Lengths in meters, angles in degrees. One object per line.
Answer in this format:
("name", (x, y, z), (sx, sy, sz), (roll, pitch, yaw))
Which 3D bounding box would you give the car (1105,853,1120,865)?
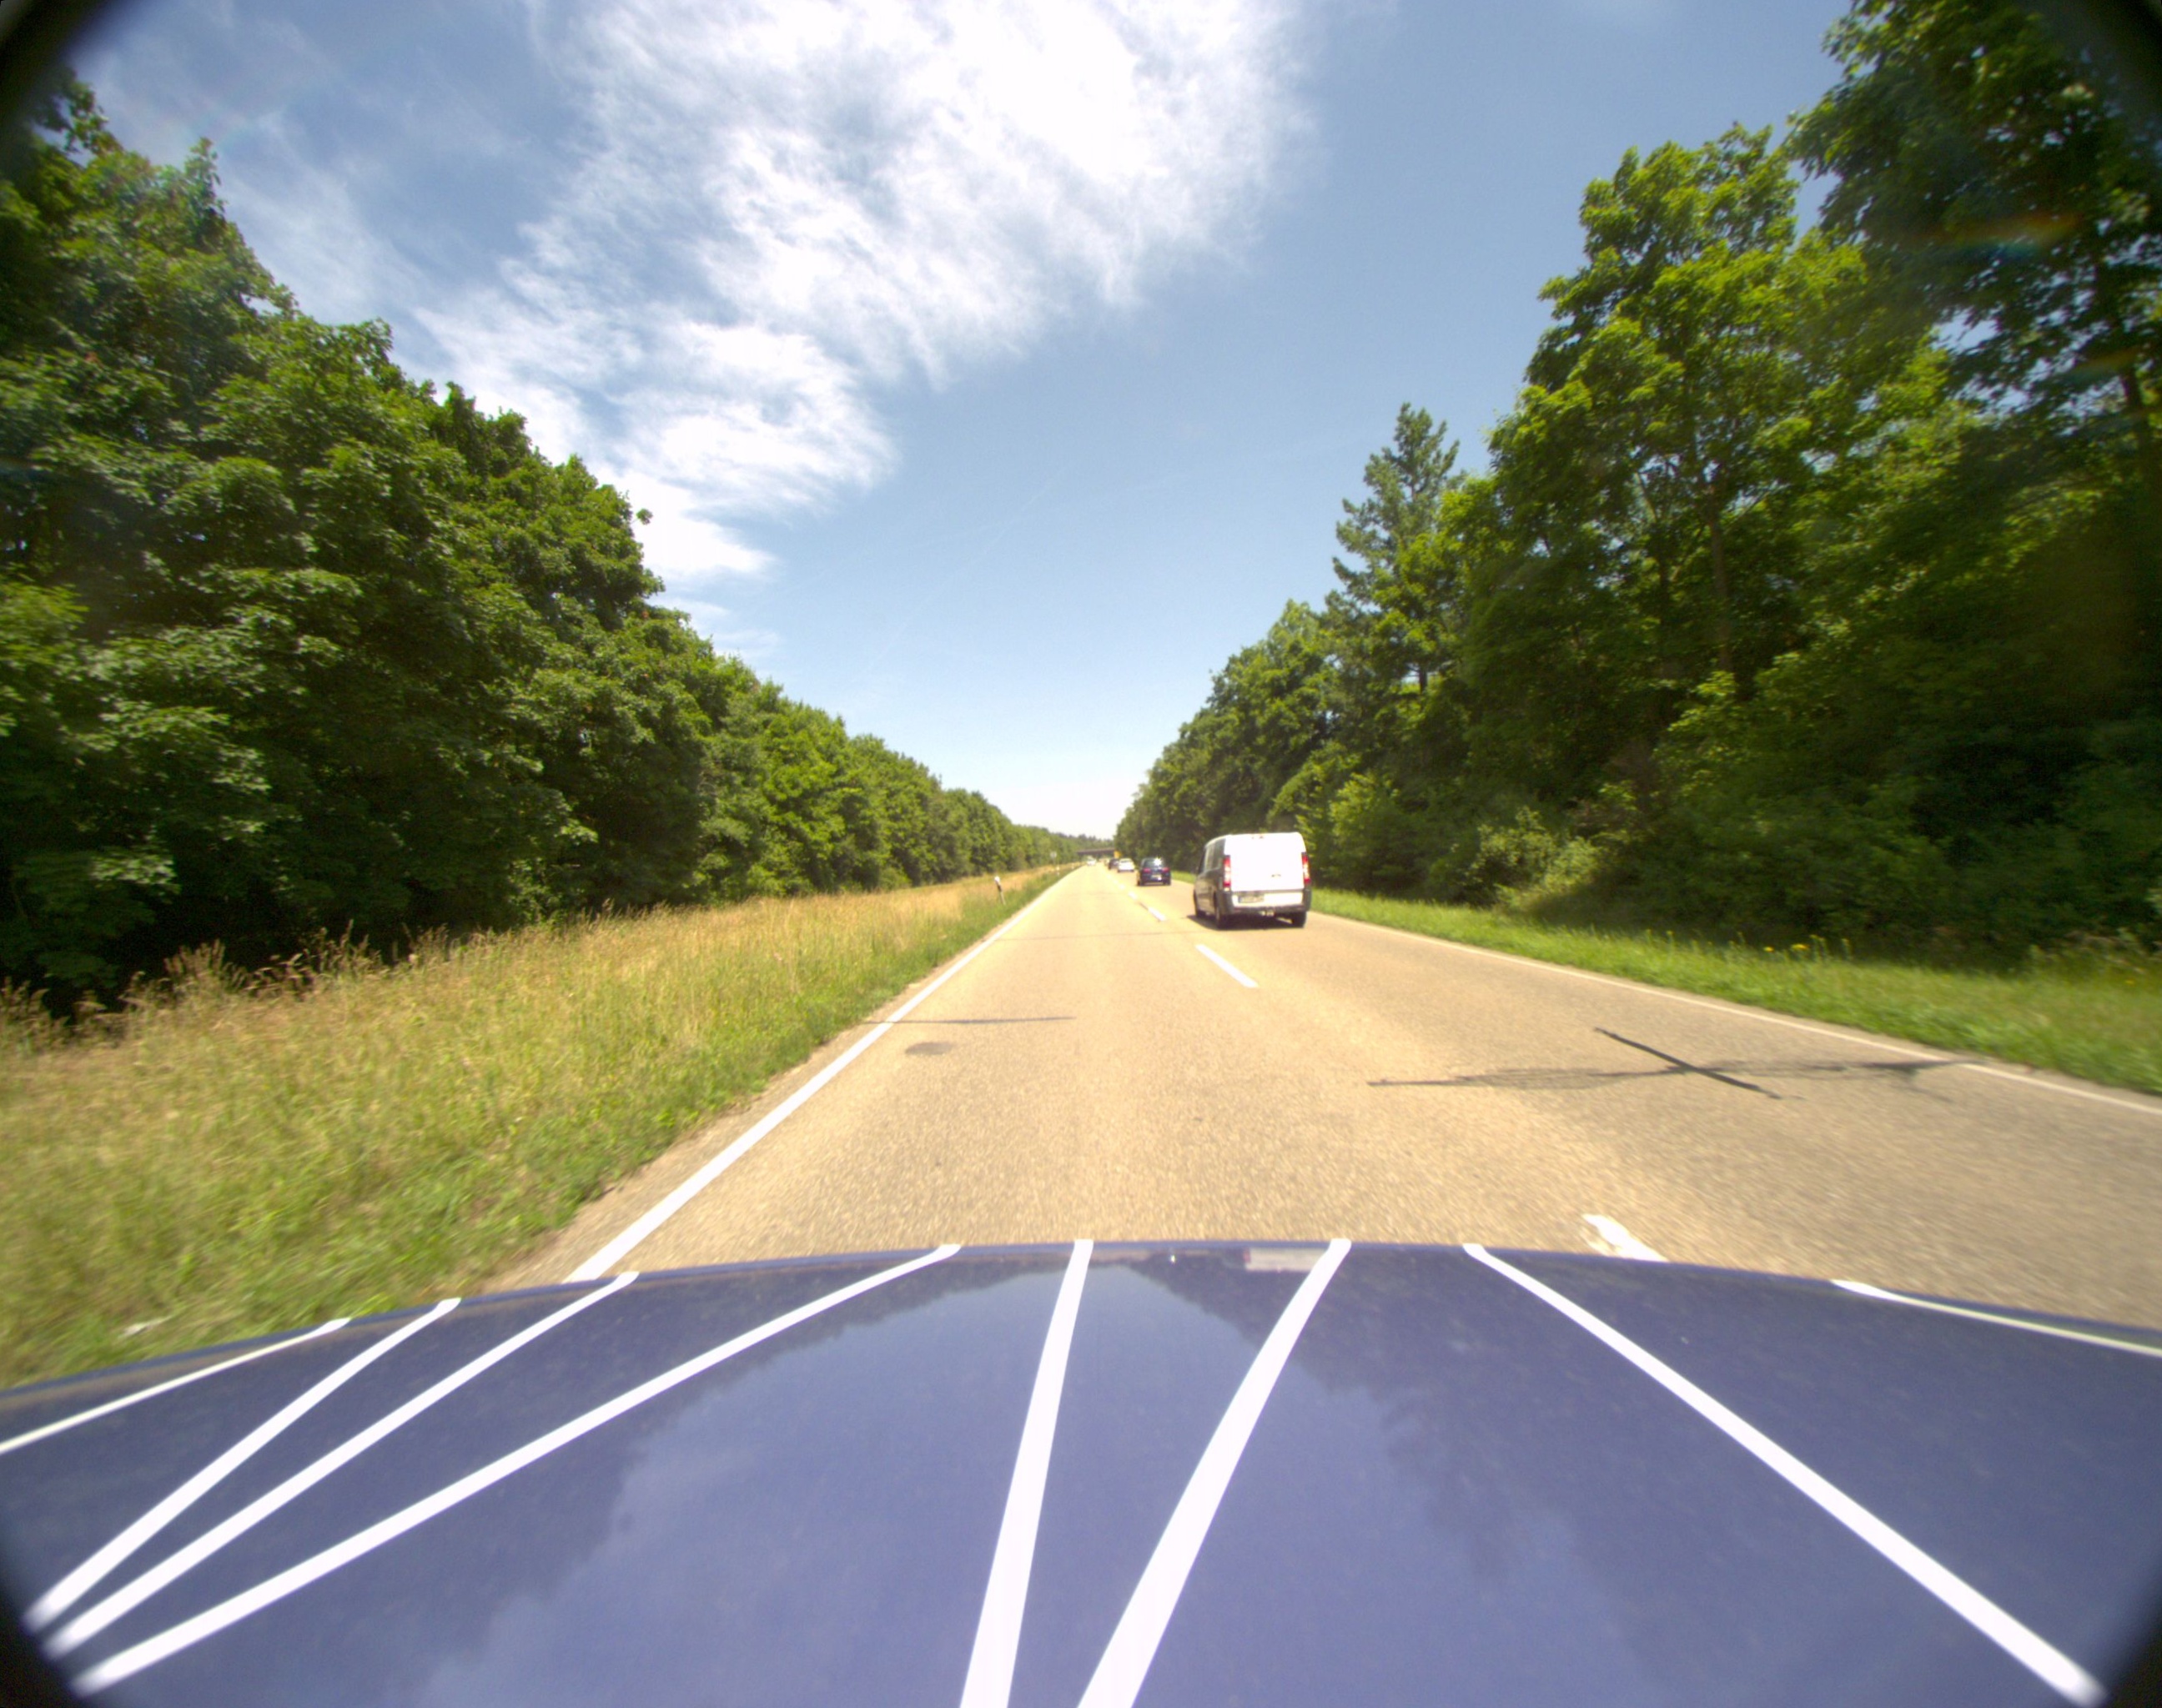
("car", (4.477, 0.679, 107.801), (1.870, 1.615, 4.200), (-2, 0, 0))

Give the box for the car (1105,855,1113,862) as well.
("car", (6.187, 1.075, 171.041), (1.671, 1.487, 3.684), (-3, 0, 1))

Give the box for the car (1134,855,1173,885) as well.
("car", (3.969, 0.835, 42.139), (1.676, 1.510, 4.000), (-2, 0, 0))

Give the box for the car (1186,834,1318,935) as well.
("car", (3.692, 0.603, 17.366), (1.880, 1.917, 4.987), (-2, 0, 1))

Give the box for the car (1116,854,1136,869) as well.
("car", (4.946, 0.827, 83.839), (1.844, 1.527, 4.658), (-2, 0, 0))
